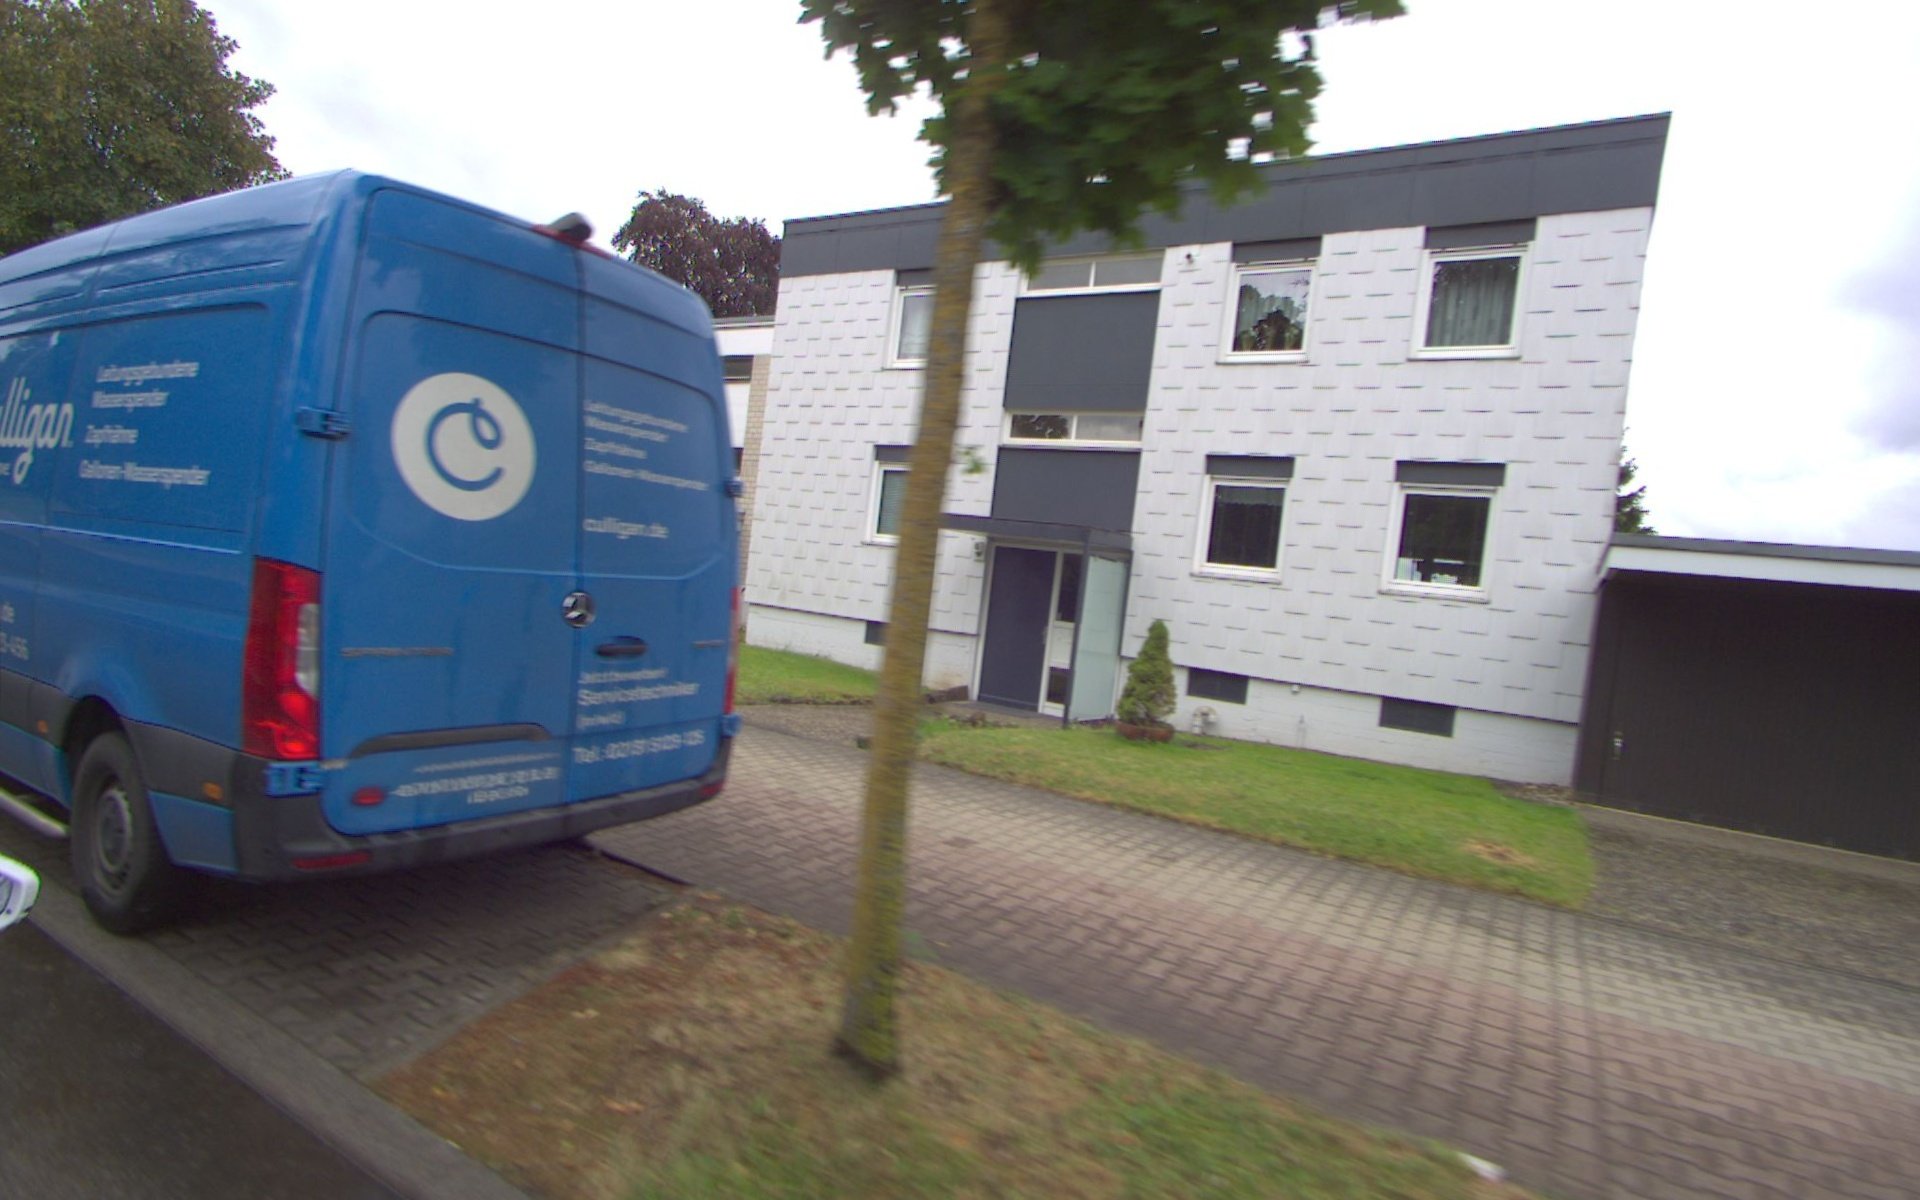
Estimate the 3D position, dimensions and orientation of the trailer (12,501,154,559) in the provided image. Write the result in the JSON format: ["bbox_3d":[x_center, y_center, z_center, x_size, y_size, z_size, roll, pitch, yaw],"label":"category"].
[{"bbox_3d":[-19.402,-1.536,22.303,1.342,0.893,2.045,7,-2,34],"label":"trailer"}]

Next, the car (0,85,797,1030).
[{"bbox_3d":[-3.711,-0.342,5.069,5.539,2.621,1.994,7,2,31],"label":"car"}]
